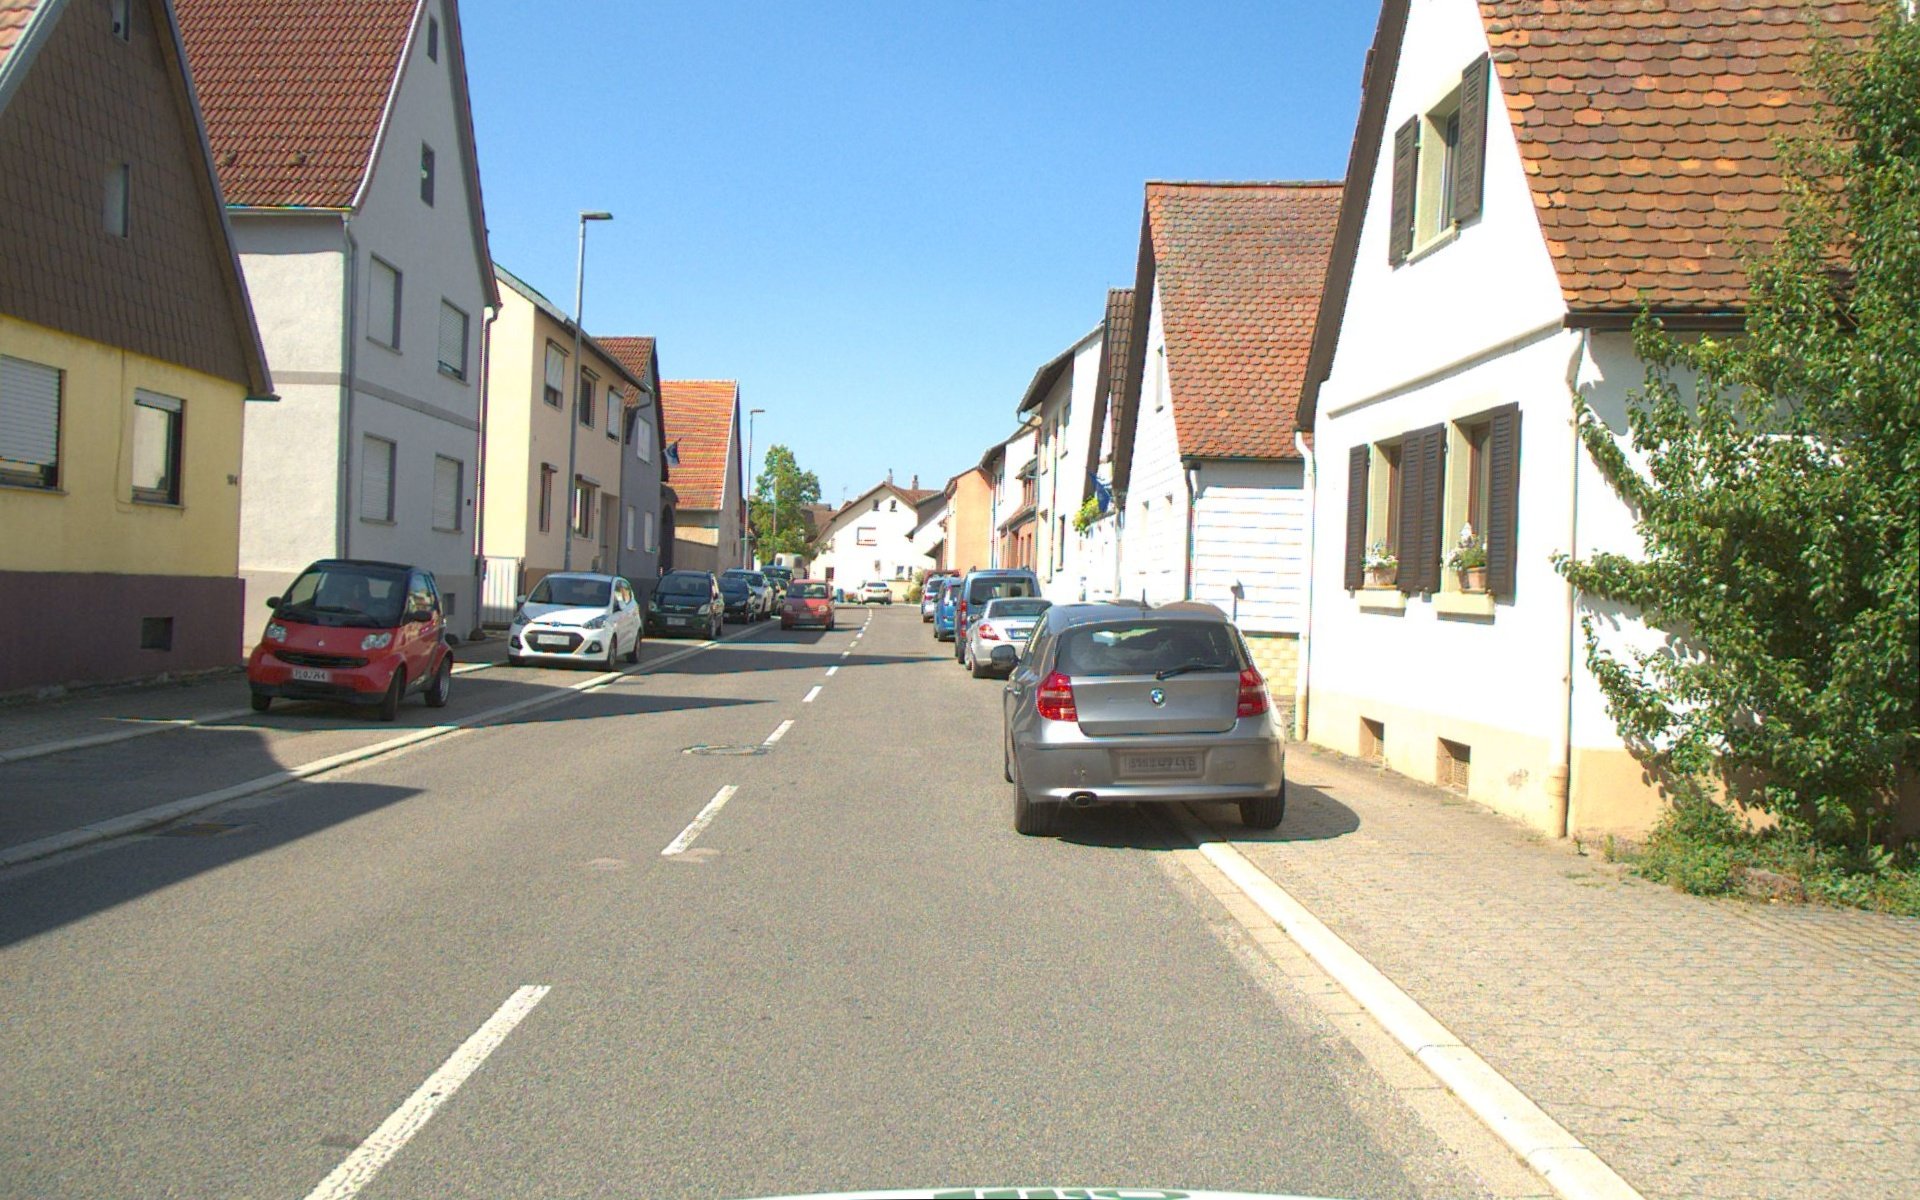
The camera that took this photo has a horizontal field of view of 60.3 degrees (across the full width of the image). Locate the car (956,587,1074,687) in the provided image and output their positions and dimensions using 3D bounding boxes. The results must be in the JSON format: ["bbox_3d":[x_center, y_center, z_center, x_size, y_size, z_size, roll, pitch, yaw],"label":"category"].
[{"bbox_3d":[0.883,0.590,28.183,1.670,1.522,3.450,3,0,-3],"label":"car"}]

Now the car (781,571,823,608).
[{"bbox_3d":[-7.428,-0.469,77.914,1.719,1.653,3.998,2,0,-3],"label":"car"}]

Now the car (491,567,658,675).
[{"bbox_3d":[-6.361,0.319,27.775,1.769,1.574,4.403,3,0,-1],"label":"car"}]

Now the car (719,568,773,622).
[{"bbox_3d":[-7.379,-0.177,57.306,1.497,1.743,3.624,3,0,-3],"label":"car"}]

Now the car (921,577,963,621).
[{"bbox_3d":[-0.691,-0.042,61.718,1.392,1.541,3.302,3,0,-3],"label":"car"}]

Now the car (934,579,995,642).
[{"bbox_3d":[0.082,0.270,44.039,1.392,1.541,3.302,3,0,-3],"label":"car"}]

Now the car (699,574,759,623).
[{"bbox_3d":[-7.362,-0.044,52.962,1.474,1.478,3.507,2,0,-2],"label":"car"}]

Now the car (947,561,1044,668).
[{"bbox_3d":[0.651,0.266,33.088,1.616,1.943,3.624,3,0,-3],"label":"car"}]

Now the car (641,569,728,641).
[{"bbox_3d":[-6.778,0.111,41.054,1.587,1.605,3.959,3,0,-3],"label":"car"}]

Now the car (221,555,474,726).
[{"bbox_3d":[-6.361,0.390,17.489,1.521,1.571,2.987,3,0,-1],"label":"car"}]

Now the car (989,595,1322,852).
[{"bbox_3d":[1.159,0.696,11.400,1.670,1.458,3.887,0,0,-3],"label":"car"}]

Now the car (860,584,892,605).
[{"bbox_3d":[-5.394,-0.335,107.000,1.953,1.311,3.998,2,0,-2],"label":"car"}]

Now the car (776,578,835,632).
[{"bbox_3d":[-4.774,0.146,51.389,1.569,1.515,3.624,3,0,-3],"label":"car"}]

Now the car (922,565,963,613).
[{"bbox_3d":[-0.808,-0.486,74.759,1.731,2.039,3.449,2,0,-1],"label":"car"}]

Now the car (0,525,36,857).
[{"bbox_3d":[-5.668,0.416,6.128,1.835,1.665,4.663,3,0,-1],"label":"car"}]
